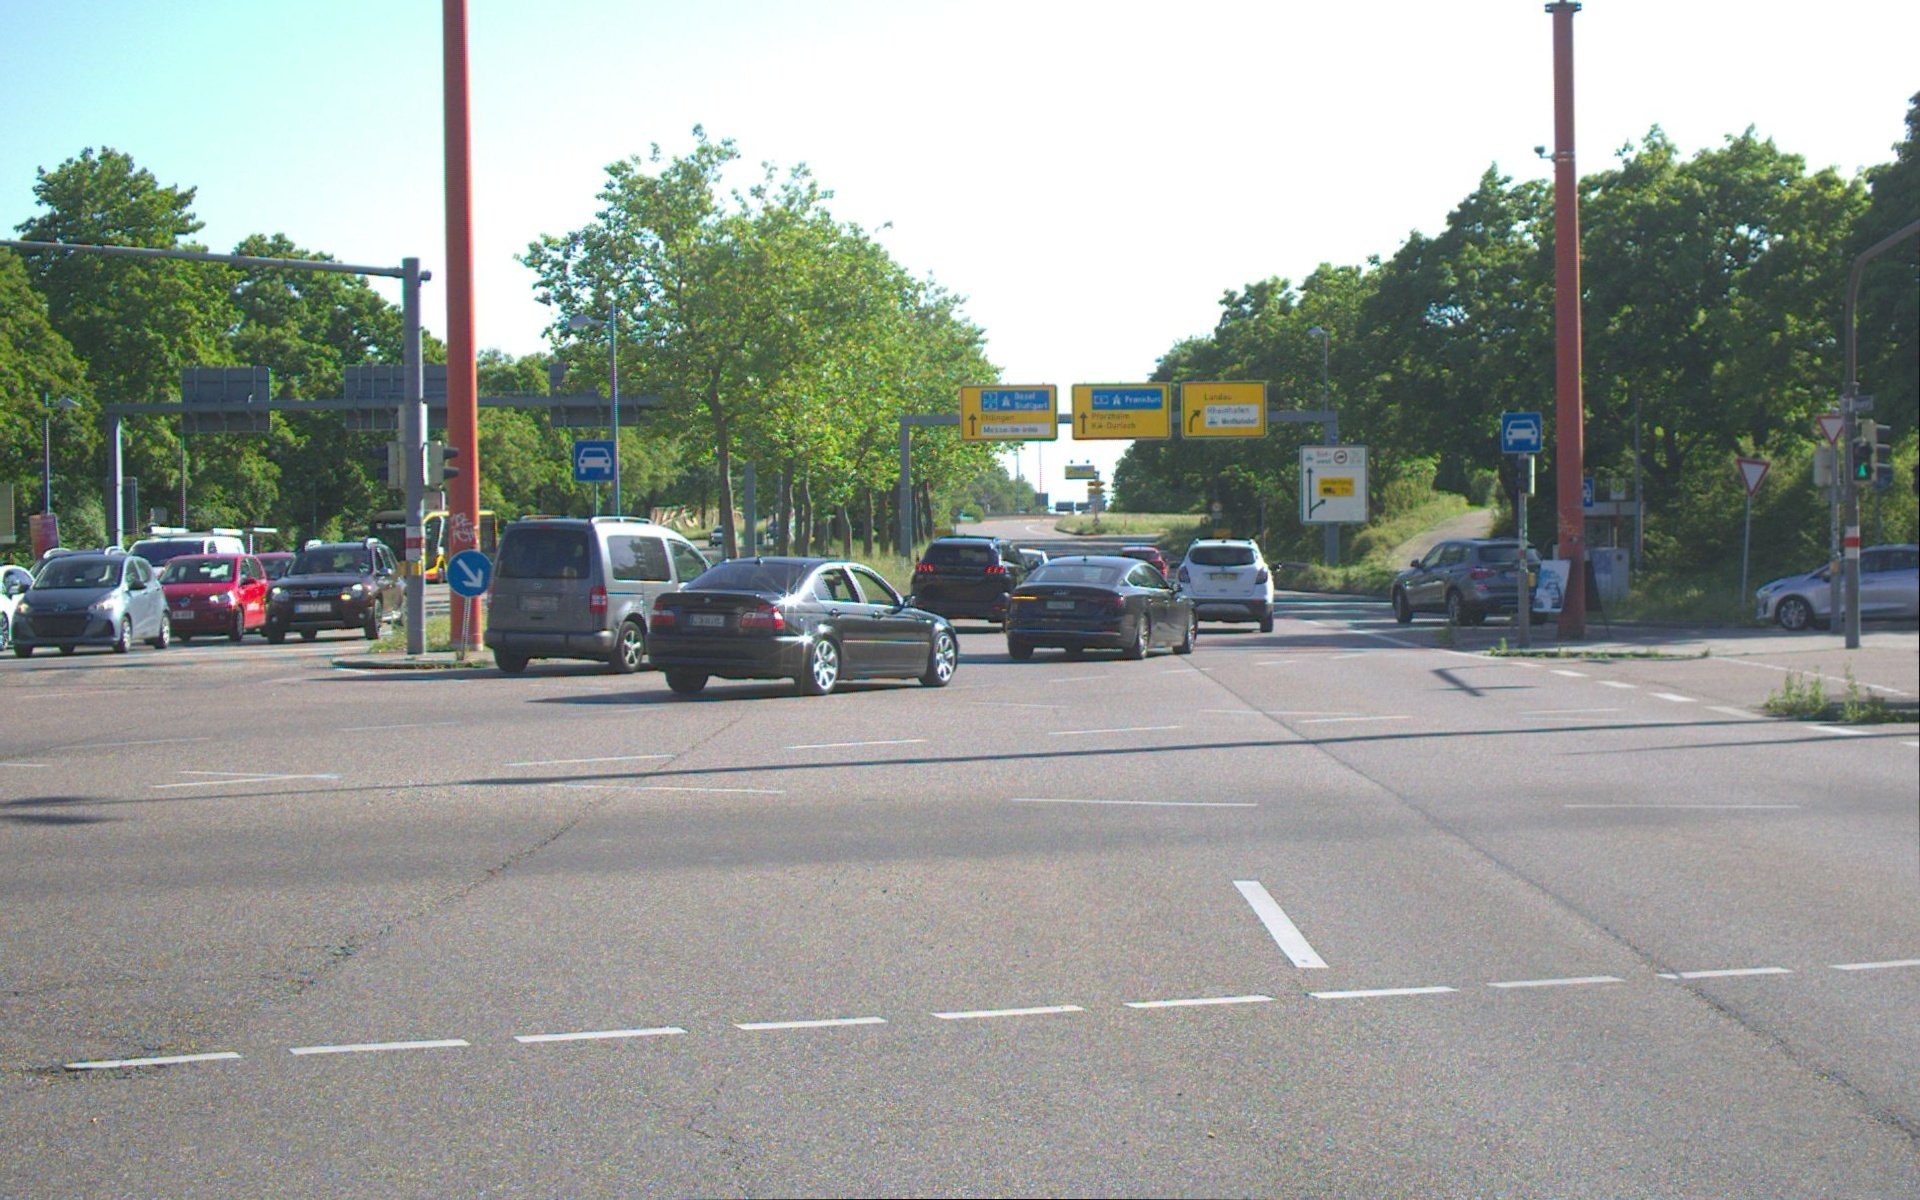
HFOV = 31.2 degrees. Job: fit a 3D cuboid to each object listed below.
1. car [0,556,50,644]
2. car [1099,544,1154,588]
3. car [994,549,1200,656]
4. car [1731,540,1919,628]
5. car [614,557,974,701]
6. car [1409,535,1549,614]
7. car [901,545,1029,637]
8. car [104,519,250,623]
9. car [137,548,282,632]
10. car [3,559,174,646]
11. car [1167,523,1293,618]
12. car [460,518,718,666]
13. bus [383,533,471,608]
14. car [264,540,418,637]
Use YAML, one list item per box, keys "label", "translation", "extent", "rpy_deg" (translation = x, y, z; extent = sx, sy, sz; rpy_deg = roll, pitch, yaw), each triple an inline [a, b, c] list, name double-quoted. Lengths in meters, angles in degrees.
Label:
- label: "car"
  translation: [-16.419, -0.016, 57.051]
  extent: [1.739, 1.406, 3.613]
  rpy_deg: [-1, 1, -1]
- label: "car"
  translation: [5.490, -1.134, 113.702]
  extent: [1.680, 1.430, 4.065]
  rpy_deg: [-1, 1, 1]
- label: "car"
  translation: [1.913, 0.005, 46.603]
  extent: [1.761, 1.345, 4.360]
  rpy_deg: [0, 1, 16]
- label: "car"
  translation: [15.434, -0.288, 58.924]
  extent: [3.989, 1.462, 1.681]
  rpy_deg: [0, 1, 31]
- label: "car"
  translation: [-1.636, 0.258, 35.515]
  extent: [1.762, 1.345, 4.356]
  rpy_deg: [0, 1, 27]
- label: "car"
  translation: [10.120, -0.526, 67.339]
  extent: [1.779, 1.480, 4.330]
  rpy_deg: [-1, 1, -4]
- label: "car"
  translation: [0.127, -0.184, 60.186]
  extent: [1.852, 1.540, 4.261]
  rpy_deg: [0, 1, 5]
- label: "car"
  translation: [-15.984, -0.592, 70.432]
  extent: [1.893, 2.019, 5.223]
  rpy_deg: [1, 0, -1]
- label: "car"
  translation: [-12.689, -0.189, 58.274]
  extent: [1.739, 1.357, 3.613]
  rpy_deg: [-1, 1, -1]
- label: "car"
  translation: [-13.111, 0.016, 51.905]
  extent: [1.739, 1.239, 3.613]
  rpy_deg: [-1, 1, -1]
- label: "car"
  translation: [4.865, -0.536, 61.514]
  extent: [1.823, 1.630, 4.251]
  rpy_deg: [0, 1, 10]
- label: "car"
  translation: [-4.435, -0.127, 41.745]
  extent: [1.846, 1.702, 4.305]
  rpy_deg: [0, 1, 12]
- label: "bus"
  translation: [-23.743, -1.343, 153.561]
  extent: [2.492, 3.227, 10.001]
  rpy_deg: [-1, 1, -1]
- label: "car"
  translation: [-10.062, -0.214, 56.149]
  extent: [1.819, 1.503, 4.000]
  rpy_deg: [-1, 1, -1]
